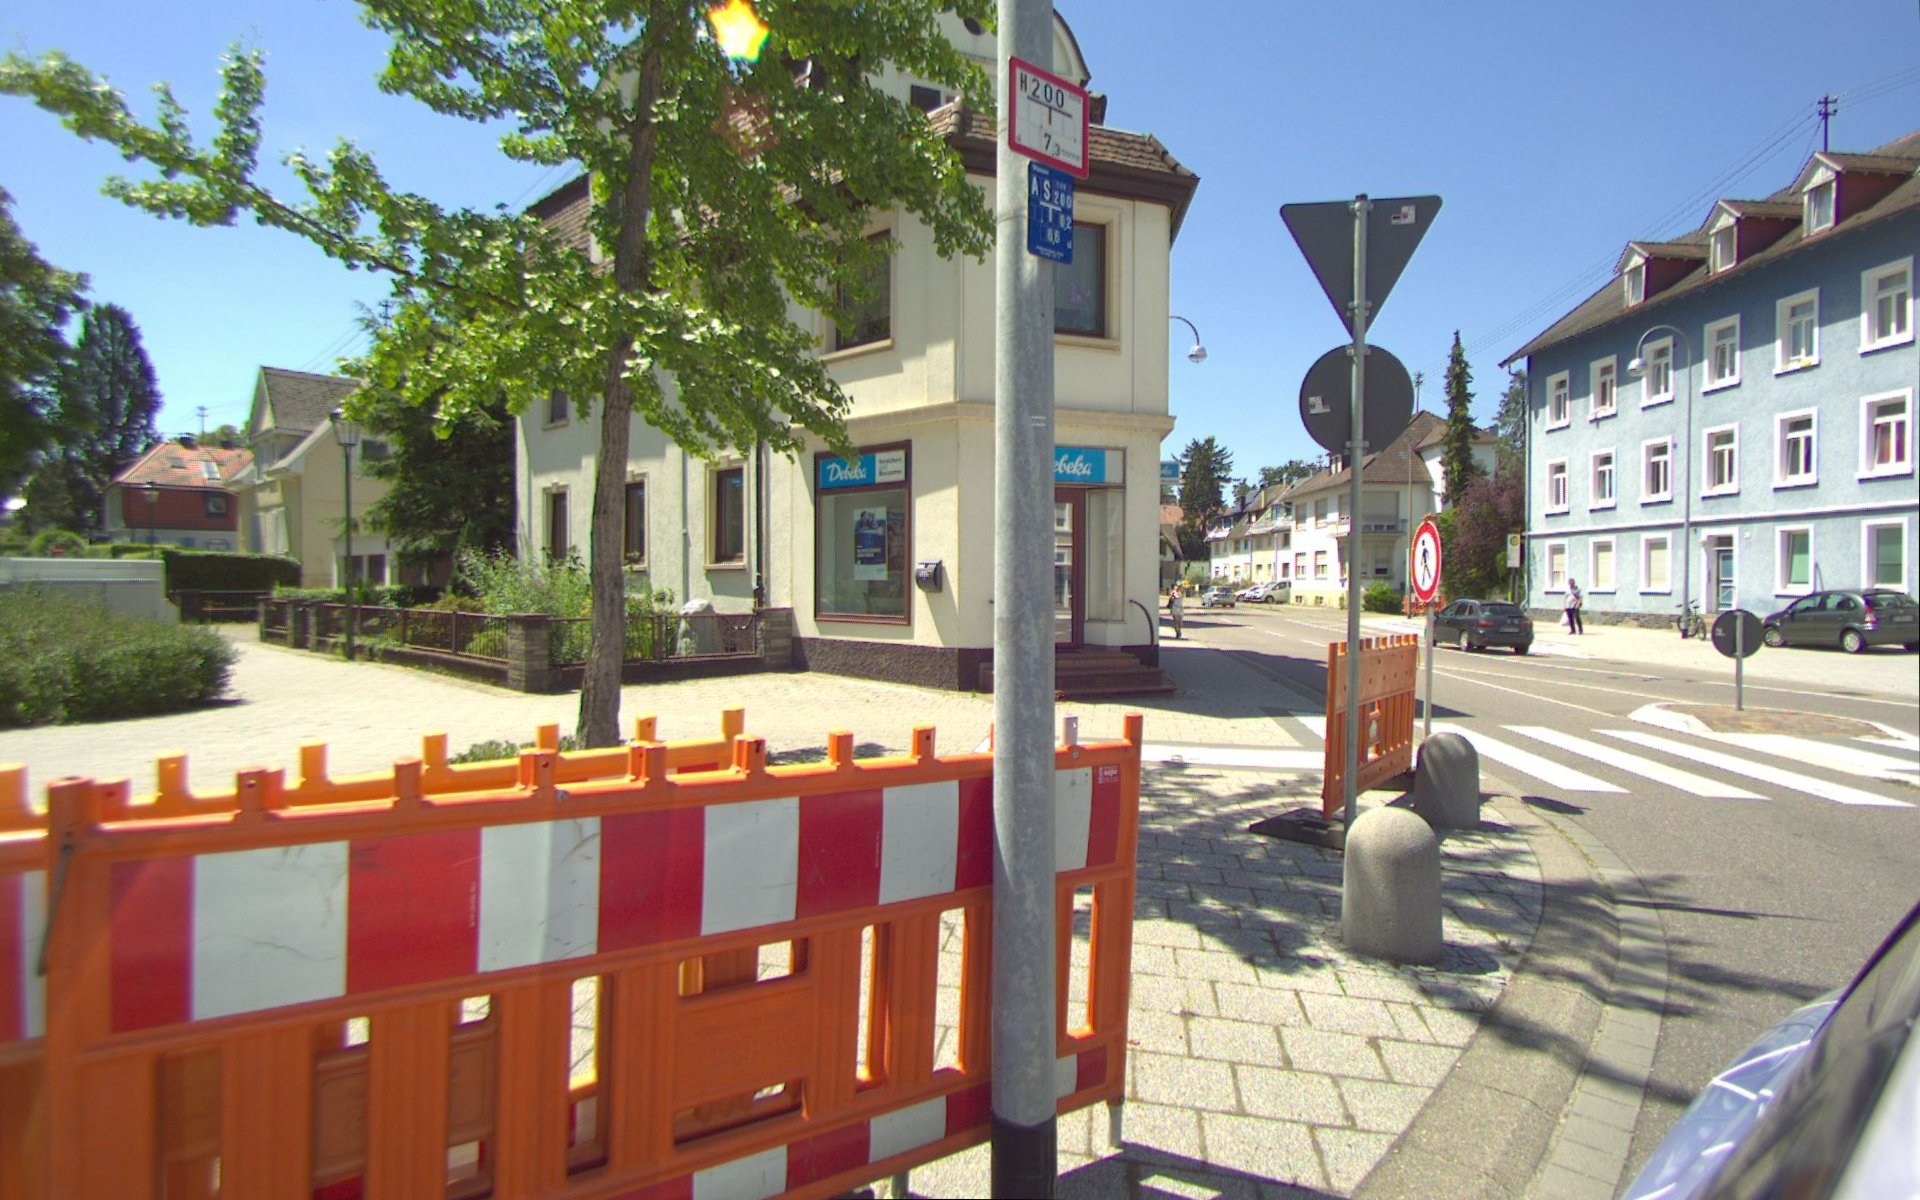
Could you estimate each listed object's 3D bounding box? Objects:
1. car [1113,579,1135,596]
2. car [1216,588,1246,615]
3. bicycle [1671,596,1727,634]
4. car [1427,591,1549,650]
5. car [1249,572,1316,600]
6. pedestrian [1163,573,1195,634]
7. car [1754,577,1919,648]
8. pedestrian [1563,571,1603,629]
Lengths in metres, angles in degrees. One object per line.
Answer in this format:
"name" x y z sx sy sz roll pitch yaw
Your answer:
"car" 14.761 -1.125 91.230 1.660 1.473 3.734 -1 1 6
"car" 19.199 0.116 71.585 1.819 1.549 4.368 5 -1 16
"bicycle" 21.587 0.423 29.598 0.489 0.989 1.967 -4 1 11
"car" 14.572 0.507 28.175 1.637 1.470 4.015 2 0 7
"car" 24.126 -1.053 75.809 4.277 1.900 1.853 2 1 -6
"pedestrian" 6.310 0.090 29.209 0.614 1.663 0.771 6 2 3
"car" 22.113 0.244 25.286 1.553 1.553 3.776 0 3 1
"pedestrian" 20.640 -0.014 33.554 0.744 1.871 0.772 -3 0 0
